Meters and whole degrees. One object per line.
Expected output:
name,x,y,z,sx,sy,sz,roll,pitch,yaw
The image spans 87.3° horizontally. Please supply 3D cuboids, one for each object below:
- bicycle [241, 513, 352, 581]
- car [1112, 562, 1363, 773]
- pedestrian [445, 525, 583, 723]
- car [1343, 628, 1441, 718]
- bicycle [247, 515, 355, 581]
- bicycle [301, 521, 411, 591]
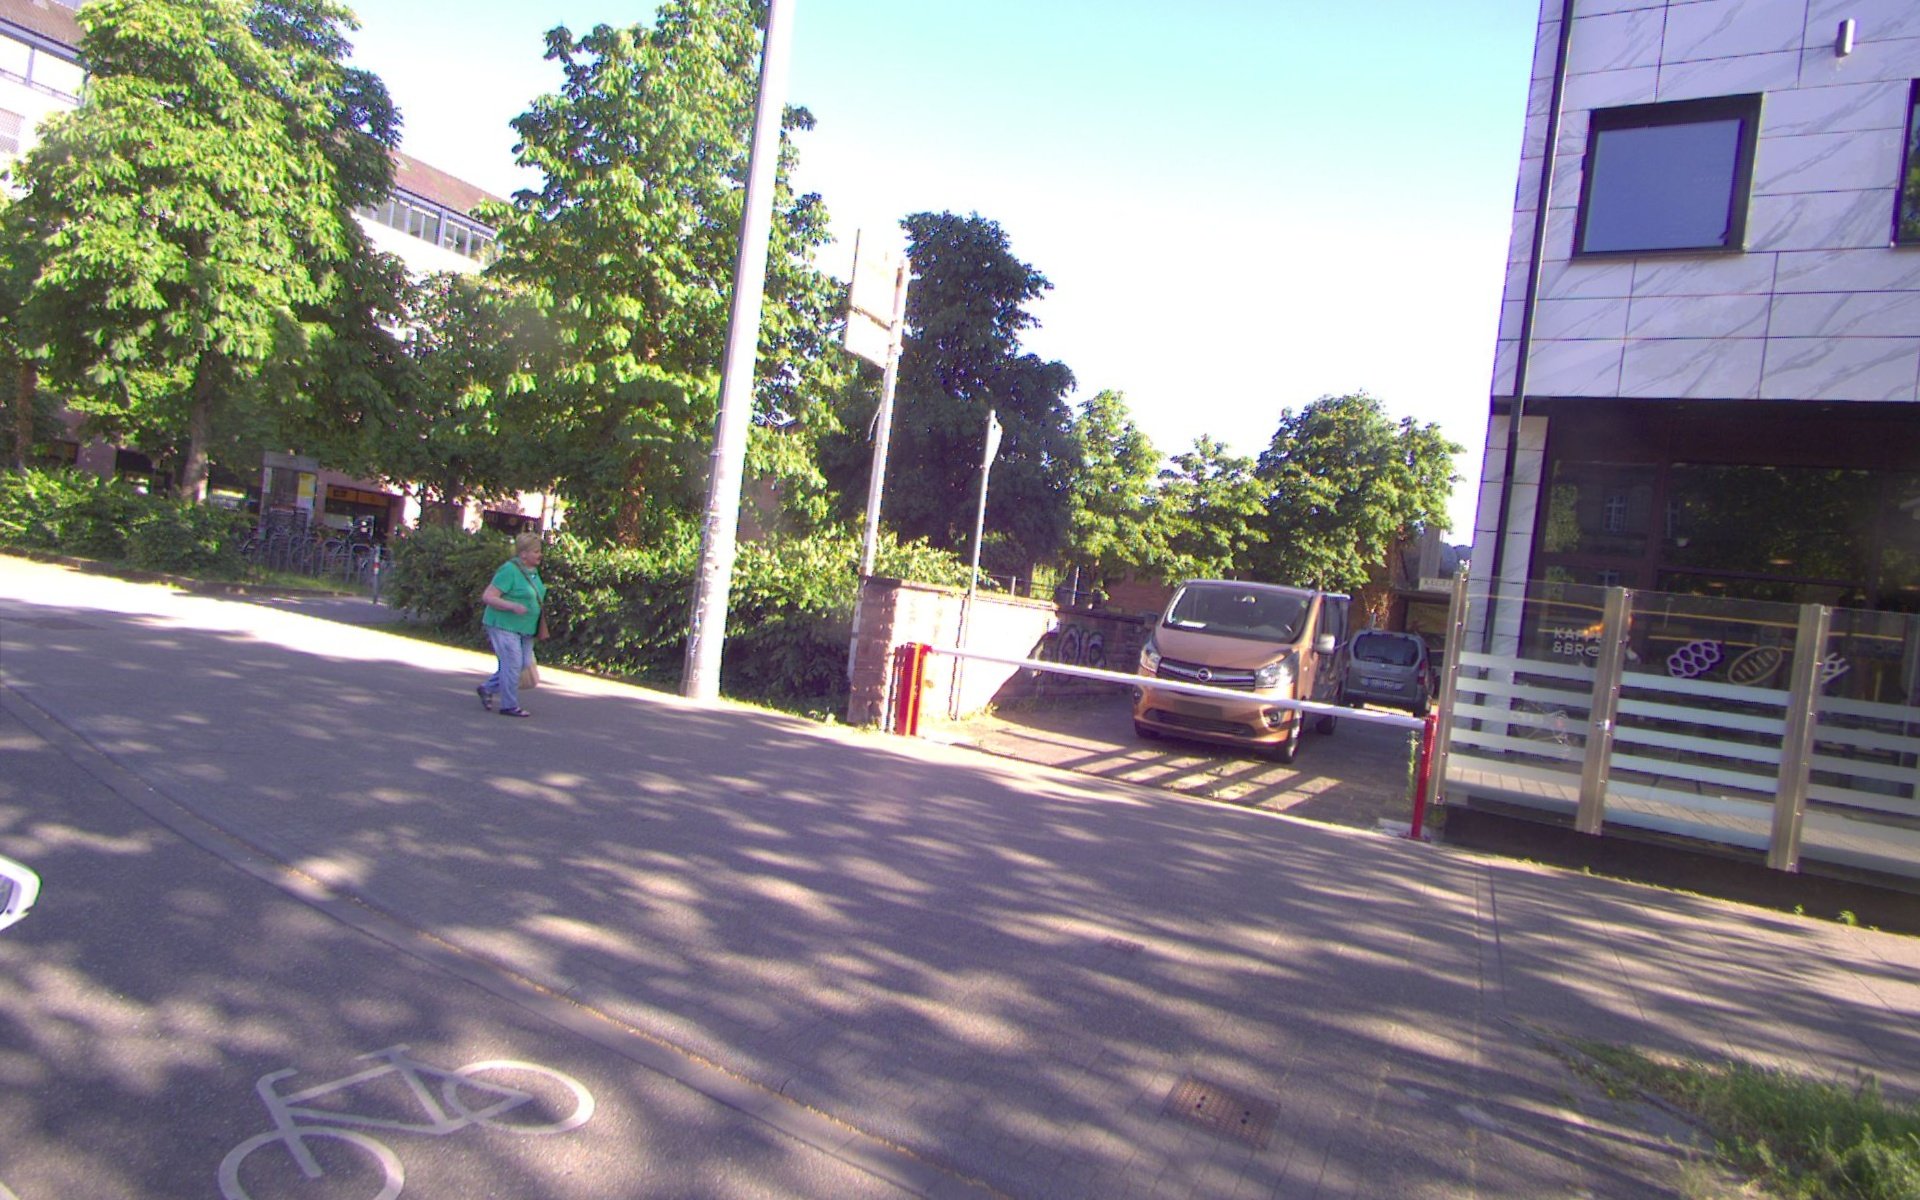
bicycle,-15.075,-1.190,22.921,0.564,1.331,1.998,7,1,31
car,3.757,0.729,12.878,1.880,2.011,4.901,7,2,28
pedestrian,-3.890,0.207,8.836,0.818,1.595,0.737,6,1,-11
car,9.769,1.614,22.631,1.567,1.692,3.616,7,0,28
bicycle,-15.402,-1.199,23.562,0.564,1.331,1.998,7,1,31
bicycle,-13.361,-0.950,22.317,0.564,1.331,1.998,7,1,31
